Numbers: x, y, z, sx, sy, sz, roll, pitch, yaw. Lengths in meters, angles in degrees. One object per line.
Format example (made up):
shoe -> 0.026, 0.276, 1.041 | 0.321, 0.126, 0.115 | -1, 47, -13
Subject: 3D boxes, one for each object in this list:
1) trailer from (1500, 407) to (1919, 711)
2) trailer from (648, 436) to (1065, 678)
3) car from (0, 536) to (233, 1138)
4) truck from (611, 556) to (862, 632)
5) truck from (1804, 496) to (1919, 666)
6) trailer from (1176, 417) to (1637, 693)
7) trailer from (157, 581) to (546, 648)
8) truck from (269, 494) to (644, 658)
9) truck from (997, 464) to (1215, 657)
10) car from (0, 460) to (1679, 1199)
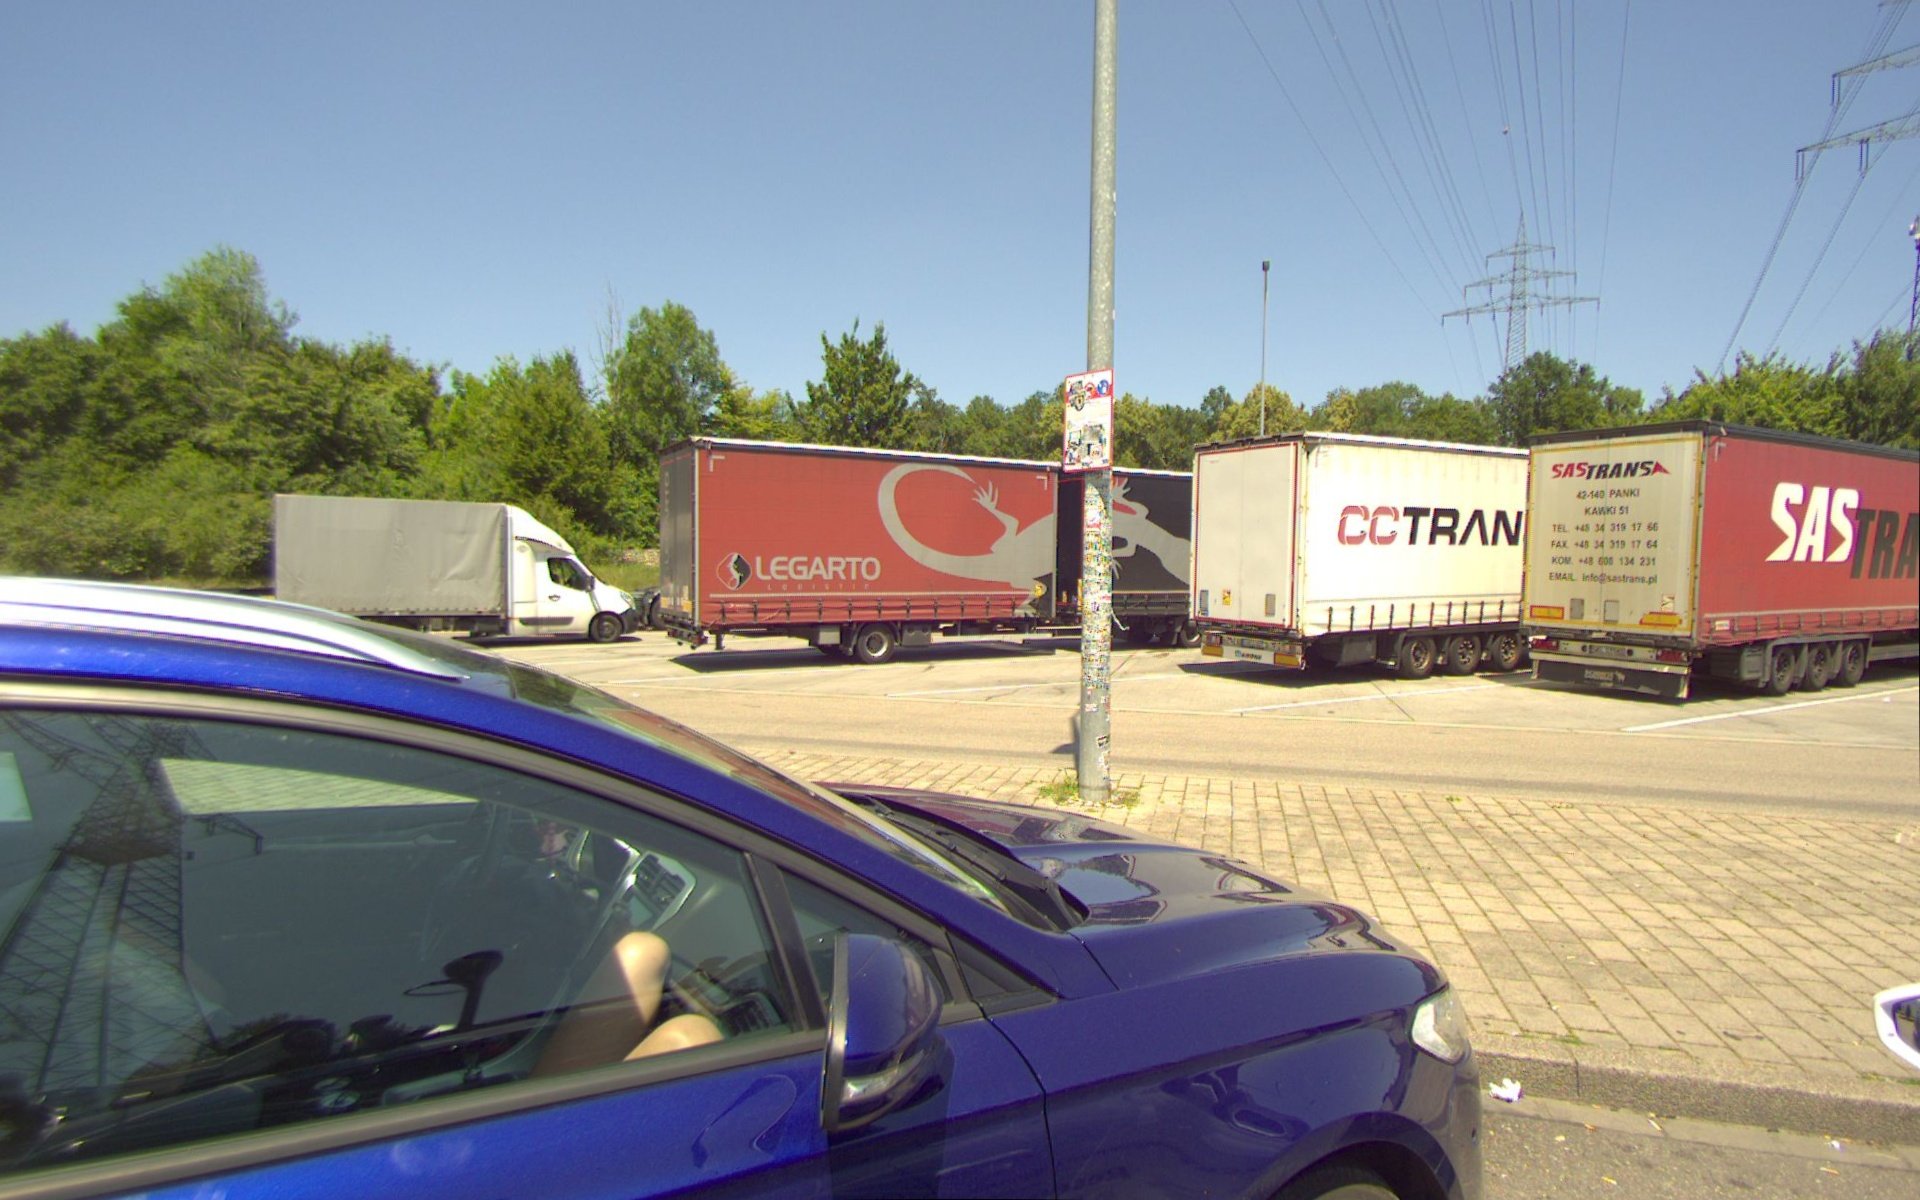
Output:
trailer -> 15.421, -0.702, 18.561 | 13.559, 4.189, 2.892 | -1, 3, -30
trailer -> -1.911, -0.828, 20.265 | 7.996, 4.101, 2.696 | -1, 3, -30
car -> -4.537, 0.583, 2.252 | 4.592, 1.554, 1.726 | 0, 1, -33
truck -> -6.467, -0.159, 29.524 | 6.961, 2.040, 1.984 | 0, 0, -30
truck -> 21.743, -0.431, 22.306 | 5.418, 3.475, 2.838 | -1, 3, -30
trailer -> 8.882, -0.819, 19.326 | 10.049, 4.267, 2.714 | -1, 3, -30
trailer -> -14.815, 0.263, 25.183 | 7.996, 1.394, 2.211 | -1, 3, -30
truck -> -11.187, -0.569, 22.900 | 7.254, 3.254, 2.515 | -1, 3, -30
truck -> 3.371, -0.902, 23.359 | 4.273, 4.072, 2.689 | -1, 3, -30
car -> -0.964, 0.655, 1.467 | 4.592, 1.502, 1.727 | 0, 0, -33
